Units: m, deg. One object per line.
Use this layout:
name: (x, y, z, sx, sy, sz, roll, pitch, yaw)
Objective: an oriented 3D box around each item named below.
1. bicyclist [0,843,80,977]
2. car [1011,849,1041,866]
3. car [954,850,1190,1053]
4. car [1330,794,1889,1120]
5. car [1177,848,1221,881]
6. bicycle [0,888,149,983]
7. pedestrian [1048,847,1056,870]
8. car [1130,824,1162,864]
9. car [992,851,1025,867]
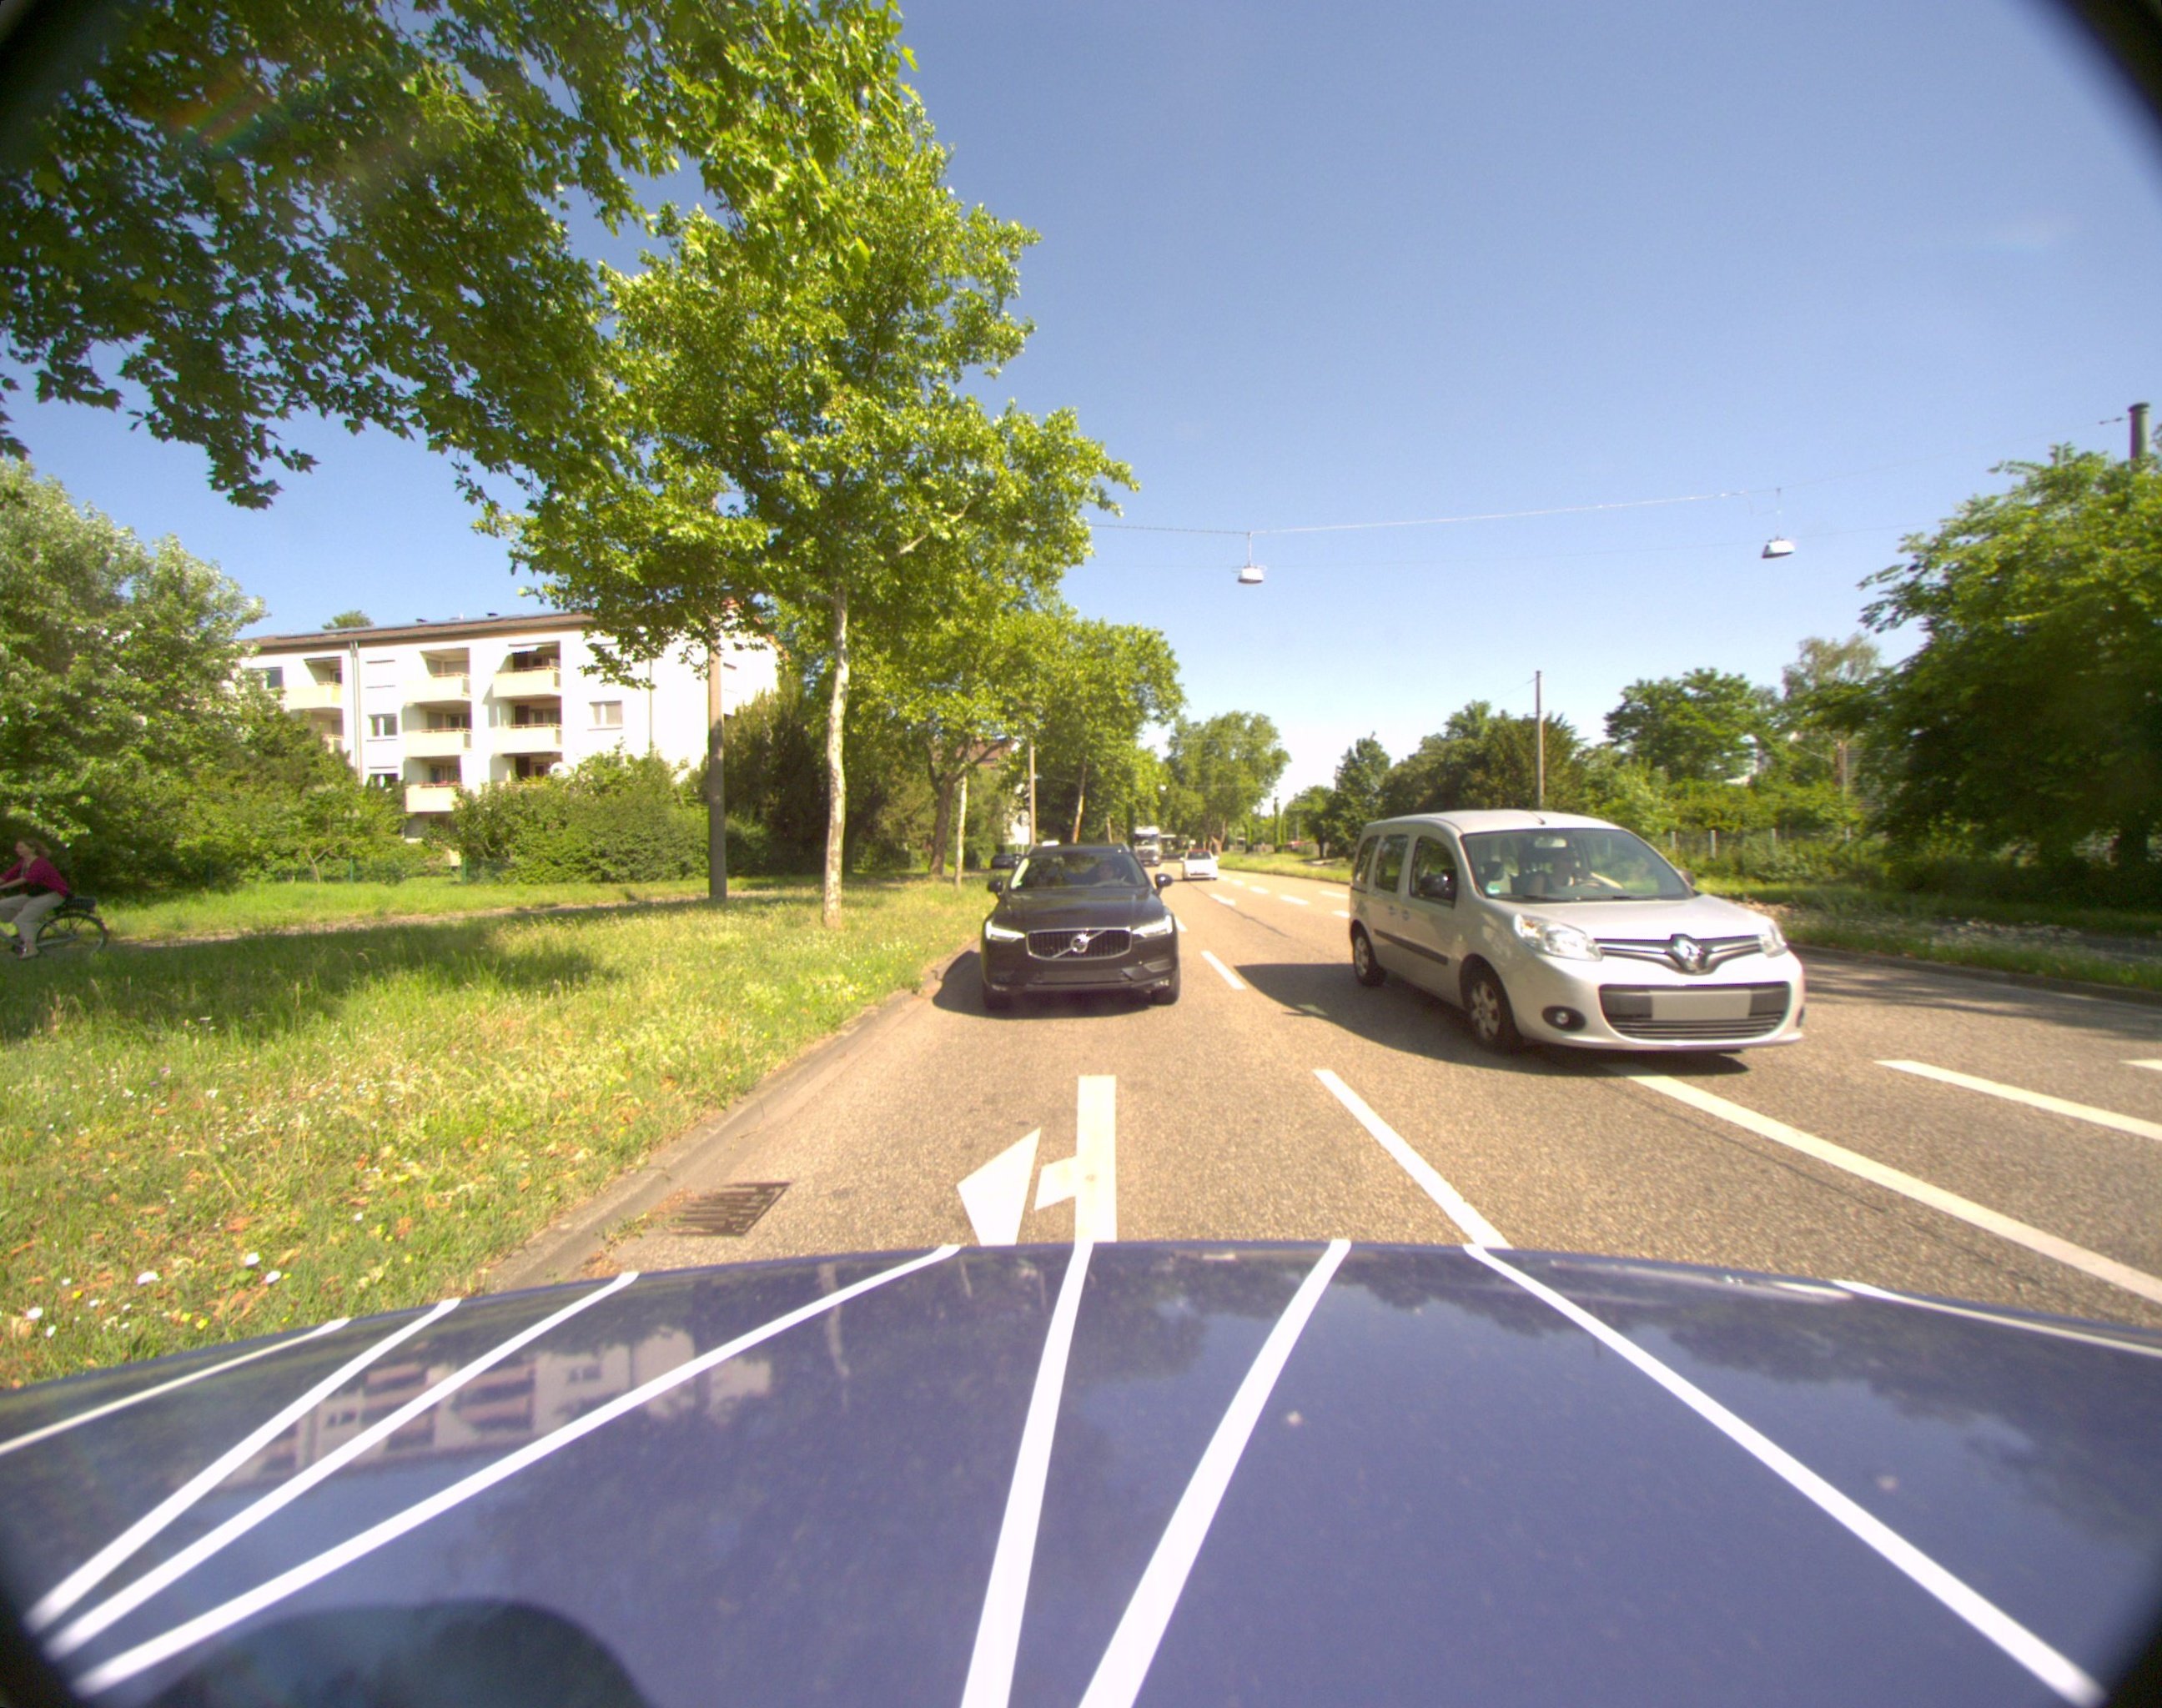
bicyclist: (-14.655, 0.738, 10.436, 0.701, 1.777, 0.811, 0, 1, 8)
car: (-5.307, 0.327, 73.820, 1.504, 1.633, 4.094, 0, 1, 17)
car: (-0.038, 0.793, 8.713, 1.904, 1.606, 4.872, -2, 1, 1)
car: (3.730, 0.575, 6.528, 1.876, 1.829, 4.375, -2, 1, 2)
car: (5.848, 0.462, 38.076, 1.689, 1.482, 4.376, -3, 1, 3)
bicycle: (-14.648, 1.119, 10.516, 0.692, 1.178, 2.126, 0, 1, 8)
pedestrian: (-2.530, 0.417, 66.329, 0.639, 2.002, 0.480, 0, 1, 10)
car: (6.461, -0.998, 76.596, 2.902, 3.898, 7.141, 0, 1, 2)
car: (-6.511, 0.421, 68.582, 1.504, 1.364, 4.094, 0, 1, 17)
